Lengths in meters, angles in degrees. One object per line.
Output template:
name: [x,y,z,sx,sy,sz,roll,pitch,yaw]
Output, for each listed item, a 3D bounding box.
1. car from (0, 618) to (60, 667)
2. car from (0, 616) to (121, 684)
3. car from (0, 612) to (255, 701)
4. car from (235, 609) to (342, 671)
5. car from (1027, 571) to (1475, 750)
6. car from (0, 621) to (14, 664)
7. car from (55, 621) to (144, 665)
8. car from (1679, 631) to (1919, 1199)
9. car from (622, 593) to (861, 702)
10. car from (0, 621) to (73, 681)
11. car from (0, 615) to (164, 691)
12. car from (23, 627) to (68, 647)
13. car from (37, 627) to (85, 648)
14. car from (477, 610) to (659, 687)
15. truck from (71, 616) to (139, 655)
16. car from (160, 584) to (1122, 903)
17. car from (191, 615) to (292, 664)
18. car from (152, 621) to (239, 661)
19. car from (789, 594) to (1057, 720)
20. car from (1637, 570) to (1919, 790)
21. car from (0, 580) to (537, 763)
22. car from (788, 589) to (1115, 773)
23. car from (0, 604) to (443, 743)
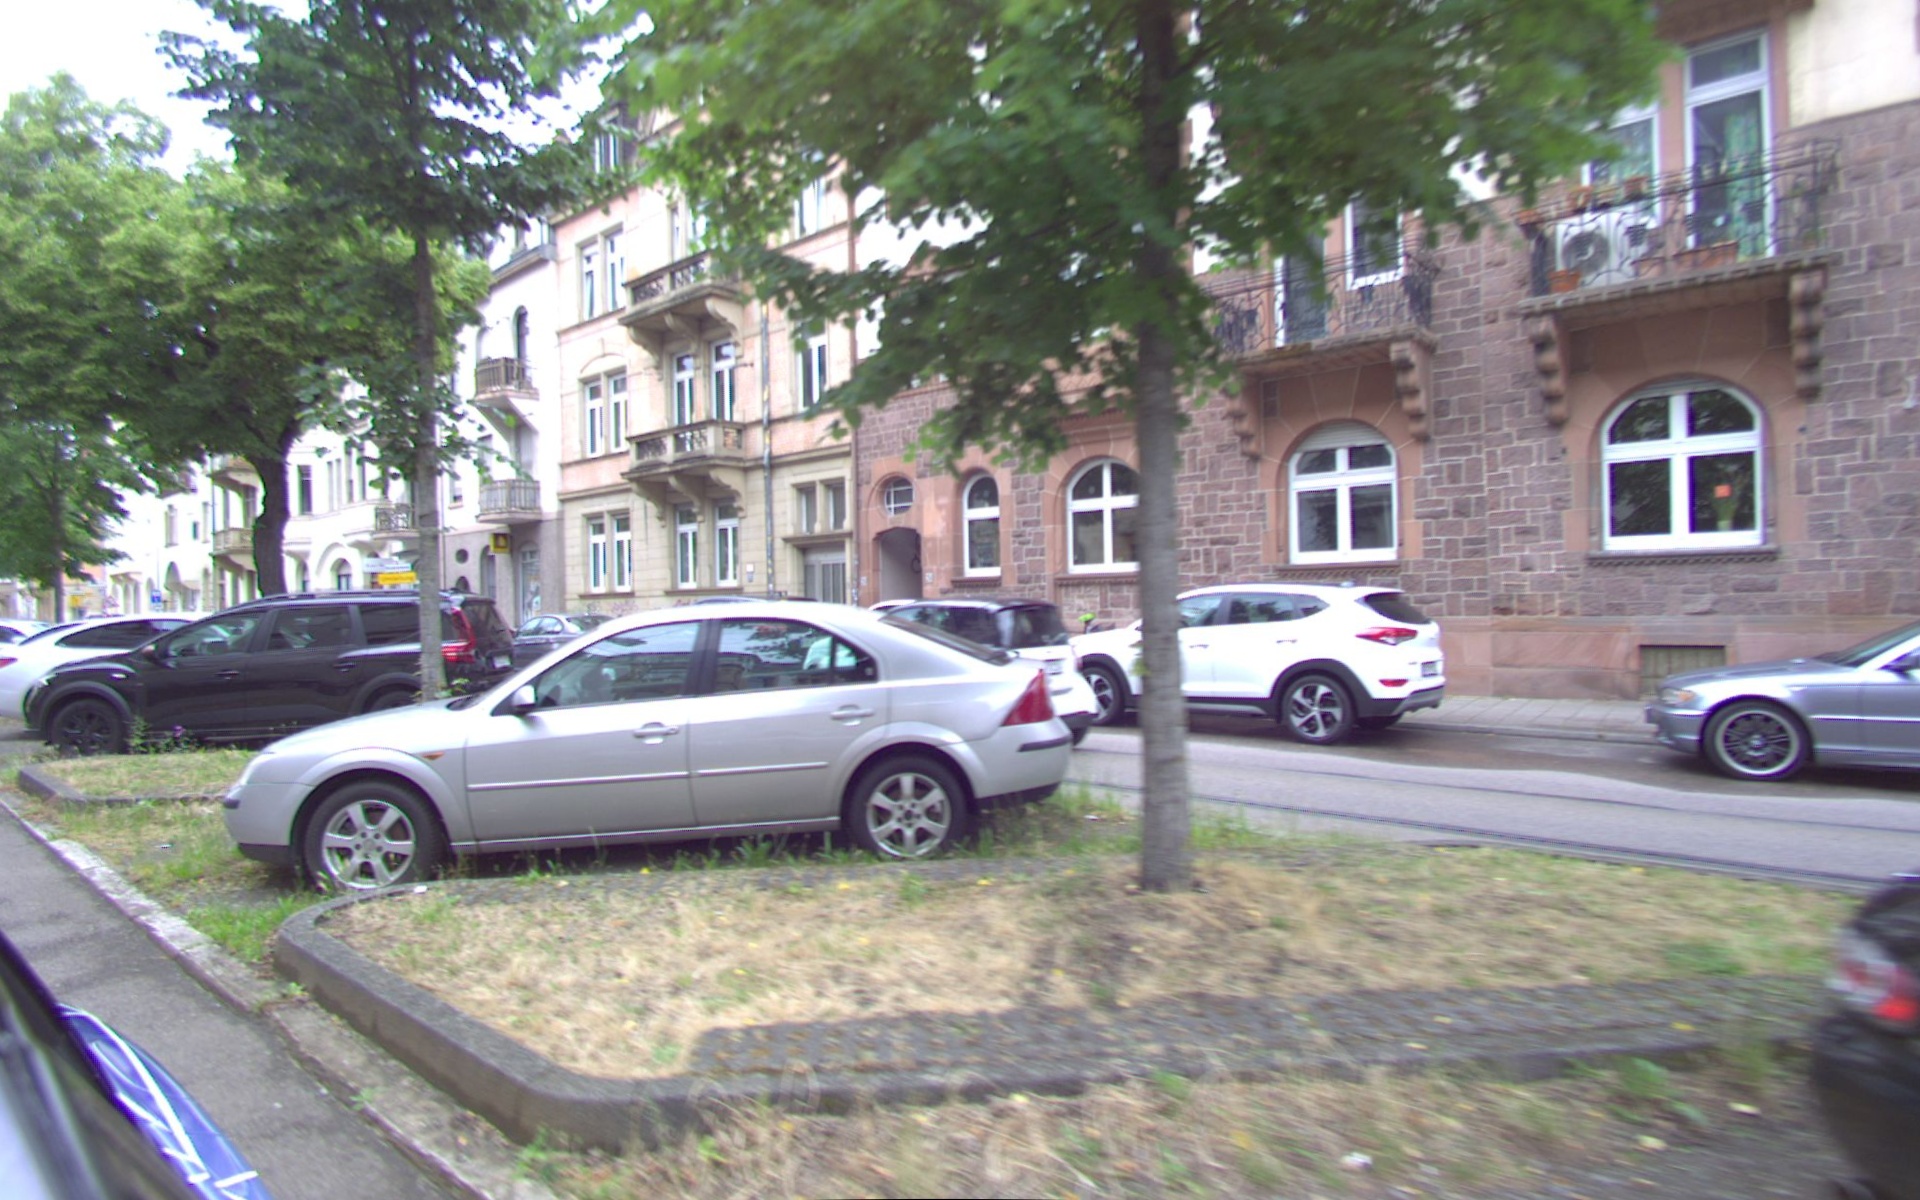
car: [-32.605,1.420,33.843,3.374,1.538,1.693,-1,0,-7]
car: [-22.837,1.209,24.208,3.940,1.496,1.778,-2,0,-4]
car: [-14.882,0.948,17.452,4.066,1.322,1.866,-2,0,-6]
car: [-22.348,1.299,33.617,4.429,1.885,1.831,-2,-1,41]
car: [3.104,0.576,11.423,4.550,1.638,1.723,-1,0,40]
car: [-36.040,1.630,35.610,3.755,1.538,1.677,-3,1,-4]
car: [-32.156,1.560,37.768,4.648,1.464,1.787,-1,0,40]
car: [3.440,0.624,1.316,3.902,1.211,1.670,-2,0,-6]
car: [-3.867,0.748,17.485,4.317,1.641,1.751,-1,0,40]
car: [-28.311,1.467,28.968,4.140,1.621,1.728,-1,0,-8]
car: [-20.487,1.161,22.193,4.497,1.504,1.865,-2,0,-4]
car: [-58.804,2.369,65.061,3.376,1.185,1.619,-2,0,39]
car: [-54.557,2.286,61.403,3.376,1.185,1.619,-2,0,39]
car: [-8.388,0.971,21.480,4.227,1.449,1.787,-1,0,40]
truck: [-44.812,1.856,52.999,6.065,1.870,2.121,-2,0,44]
car: [-1.565,0.672,5.881,4.595,1.378,1.760,-2,0,-7]
car: [-26.356,1.419,37.056,4.487,1.672,1.833,-2,-1,38]
car: [-31.248,1.659,41.318,4.189,1.534,1.833,-2,-1,38]
car: [-0.612,0.742,14.628,3.719,1.571,1.645,-1,0,40]
car: [7.776,0.542,7.387,4.550,1.553,1.723,-1,0,40]
car: [-7.032,0.670,10.613,4.463,1.645,1.767,-1,0,-5]
car: [-0.134,0.694,10.003,2.890,1.526,1.588,-1,0,40]
car: [-9.317,0.852,12.830,4.472,1.501,2.038,-1,0,-5]
